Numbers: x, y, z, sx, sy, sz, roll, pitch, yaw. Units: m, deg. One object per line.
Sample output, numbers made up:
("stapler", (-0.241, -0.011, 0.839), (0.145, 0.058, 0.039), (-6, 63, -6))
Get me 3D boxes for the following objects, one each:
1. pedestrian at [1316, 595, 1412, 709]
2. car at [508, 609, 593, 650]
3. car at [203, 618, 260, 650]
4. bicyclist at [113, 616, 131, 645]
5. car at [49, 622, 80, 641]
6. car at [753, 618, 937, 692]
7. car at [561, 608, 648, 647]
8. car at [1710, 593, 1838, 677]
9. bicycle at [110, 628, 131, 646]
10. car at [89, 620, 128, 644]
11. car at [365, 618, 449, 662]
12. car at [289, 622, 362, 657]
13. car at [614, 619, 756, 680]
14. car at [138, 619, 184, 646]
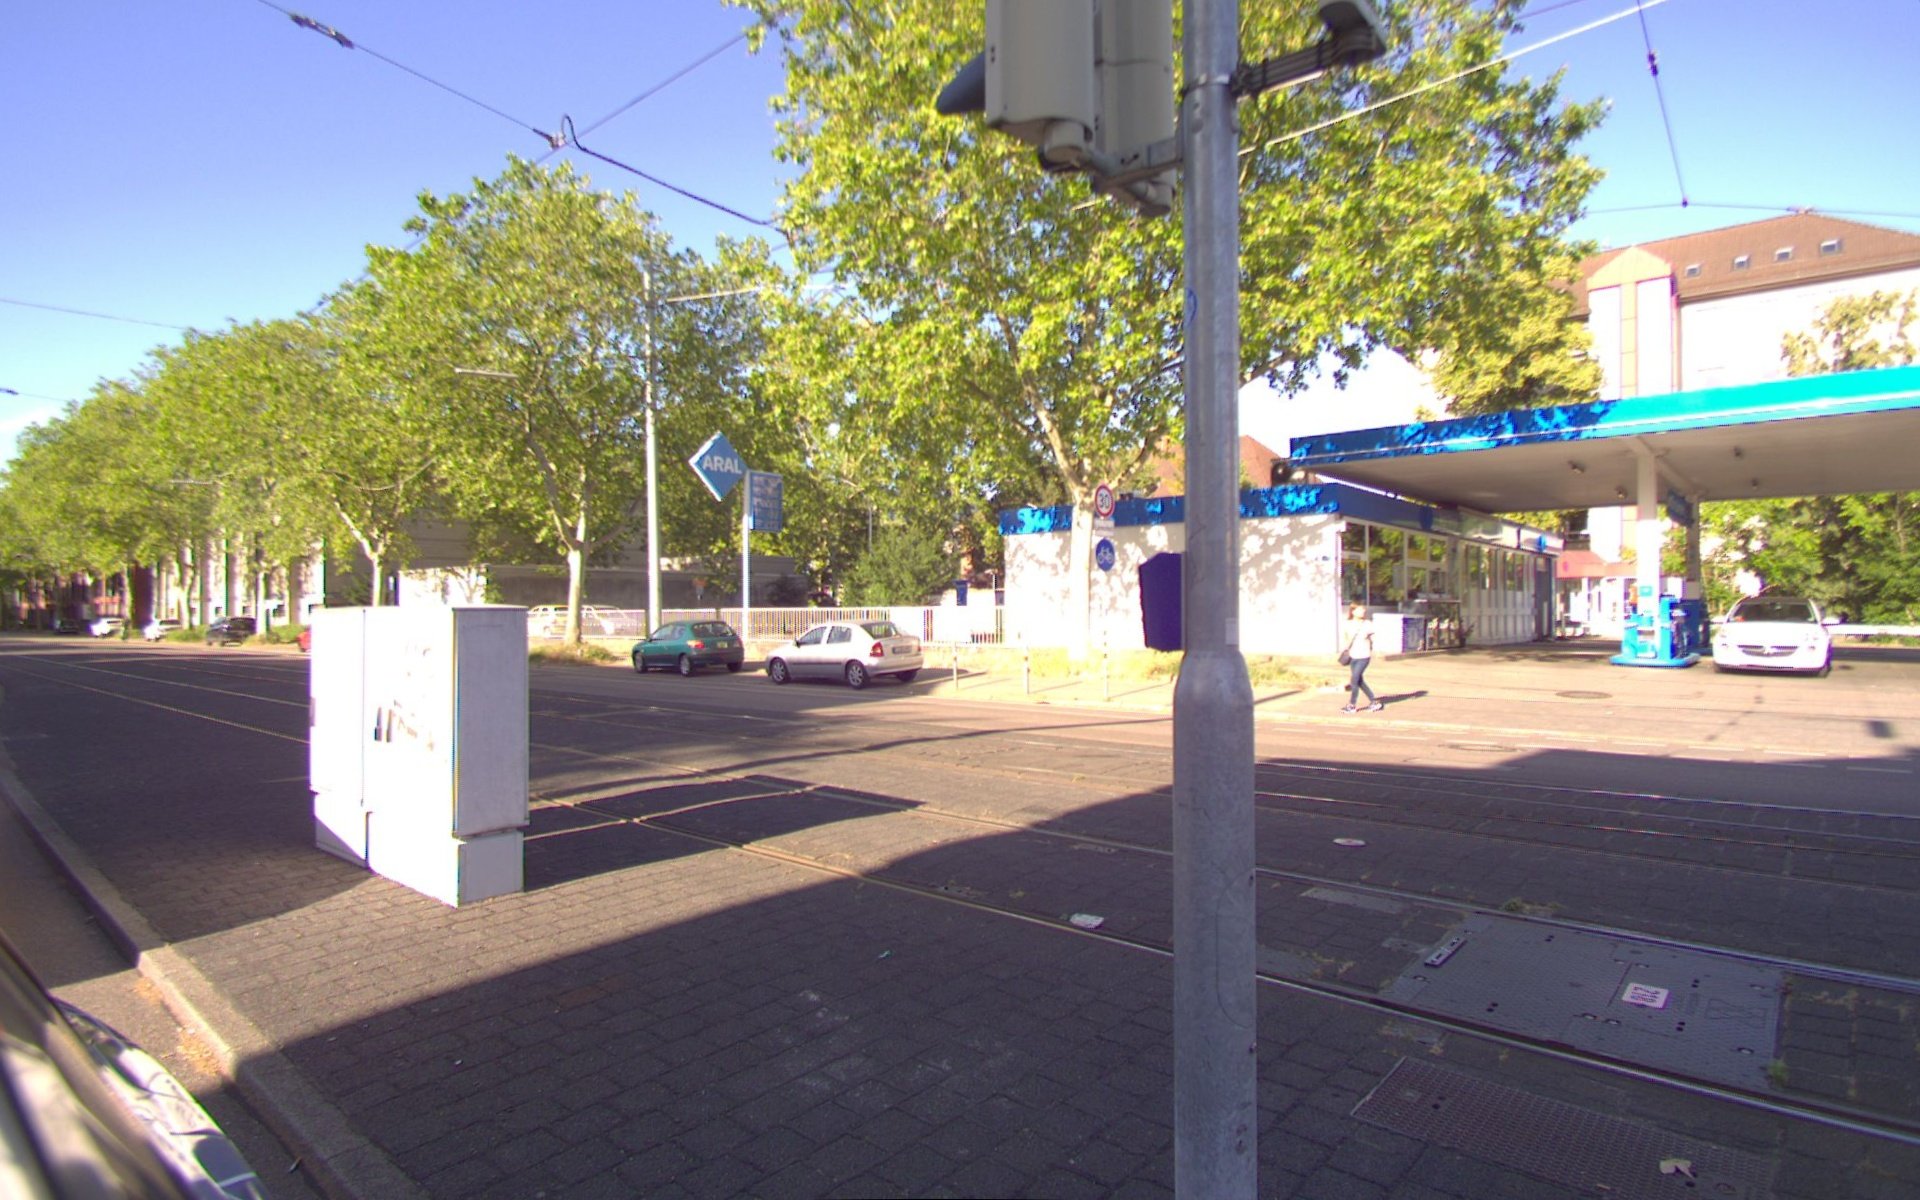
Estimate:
("pedestrian", (5.965, 0.748, 14.969), (1.087, 1.631, 0.718), (0, -1, -16))
("car", (-17.136, 1.195, 42.266), (4.002, 1.545, 1.820), (-1, 1, 45))
("car", (-40.659, 1.885, 56.466), (4.098, 1.628, 1.821), (-1, 1, 44))
("bicyclist", (-54.001, 1.967, 65.216), (1.070, 1.878, 0.711), (-1, -2, 41))
("car", (-85.046, 2.948, 96.082), (4.098, 1.686, 1.821), (-1, 1, 44))
("car", (-2.623, 1.176, 22.632), (3.997, 1.418, 1.823), (-1, 1, 40))
("car", (-15.395, 1.172, 43.759), (3.999, 1.545, 1.822), (-1, 1, 42))
("car", (15.998, 0.652, 19.857), (1.780, 1.475, 3.946), (-1, -1, 40))
("bicycle", (-54.150, 2.400, 65.243), (2.532, 1.129, 0.645), (-1, -1, 41))
("car", (-66.948, 2.489, 79.560), (4.098, 1.686, 1.821), (-1, 1, 44))
("car", (-21.967, 1.540, 40.173), (4.002, 1.545, 1.820), (-1, 1, 45))
("car", (-28.967, 1.773, 46.165), (4.001, 1.418, 1.821), (-1, 1, 44))
("car", (-7.431, 1.274, 27.122), (4.138, 1.418, 1.820), (-1, 1, 45))
("car", (-53.844, 2.160, 68.189), (4.098, 1.686, 1.821), (-1, 1, 44))
